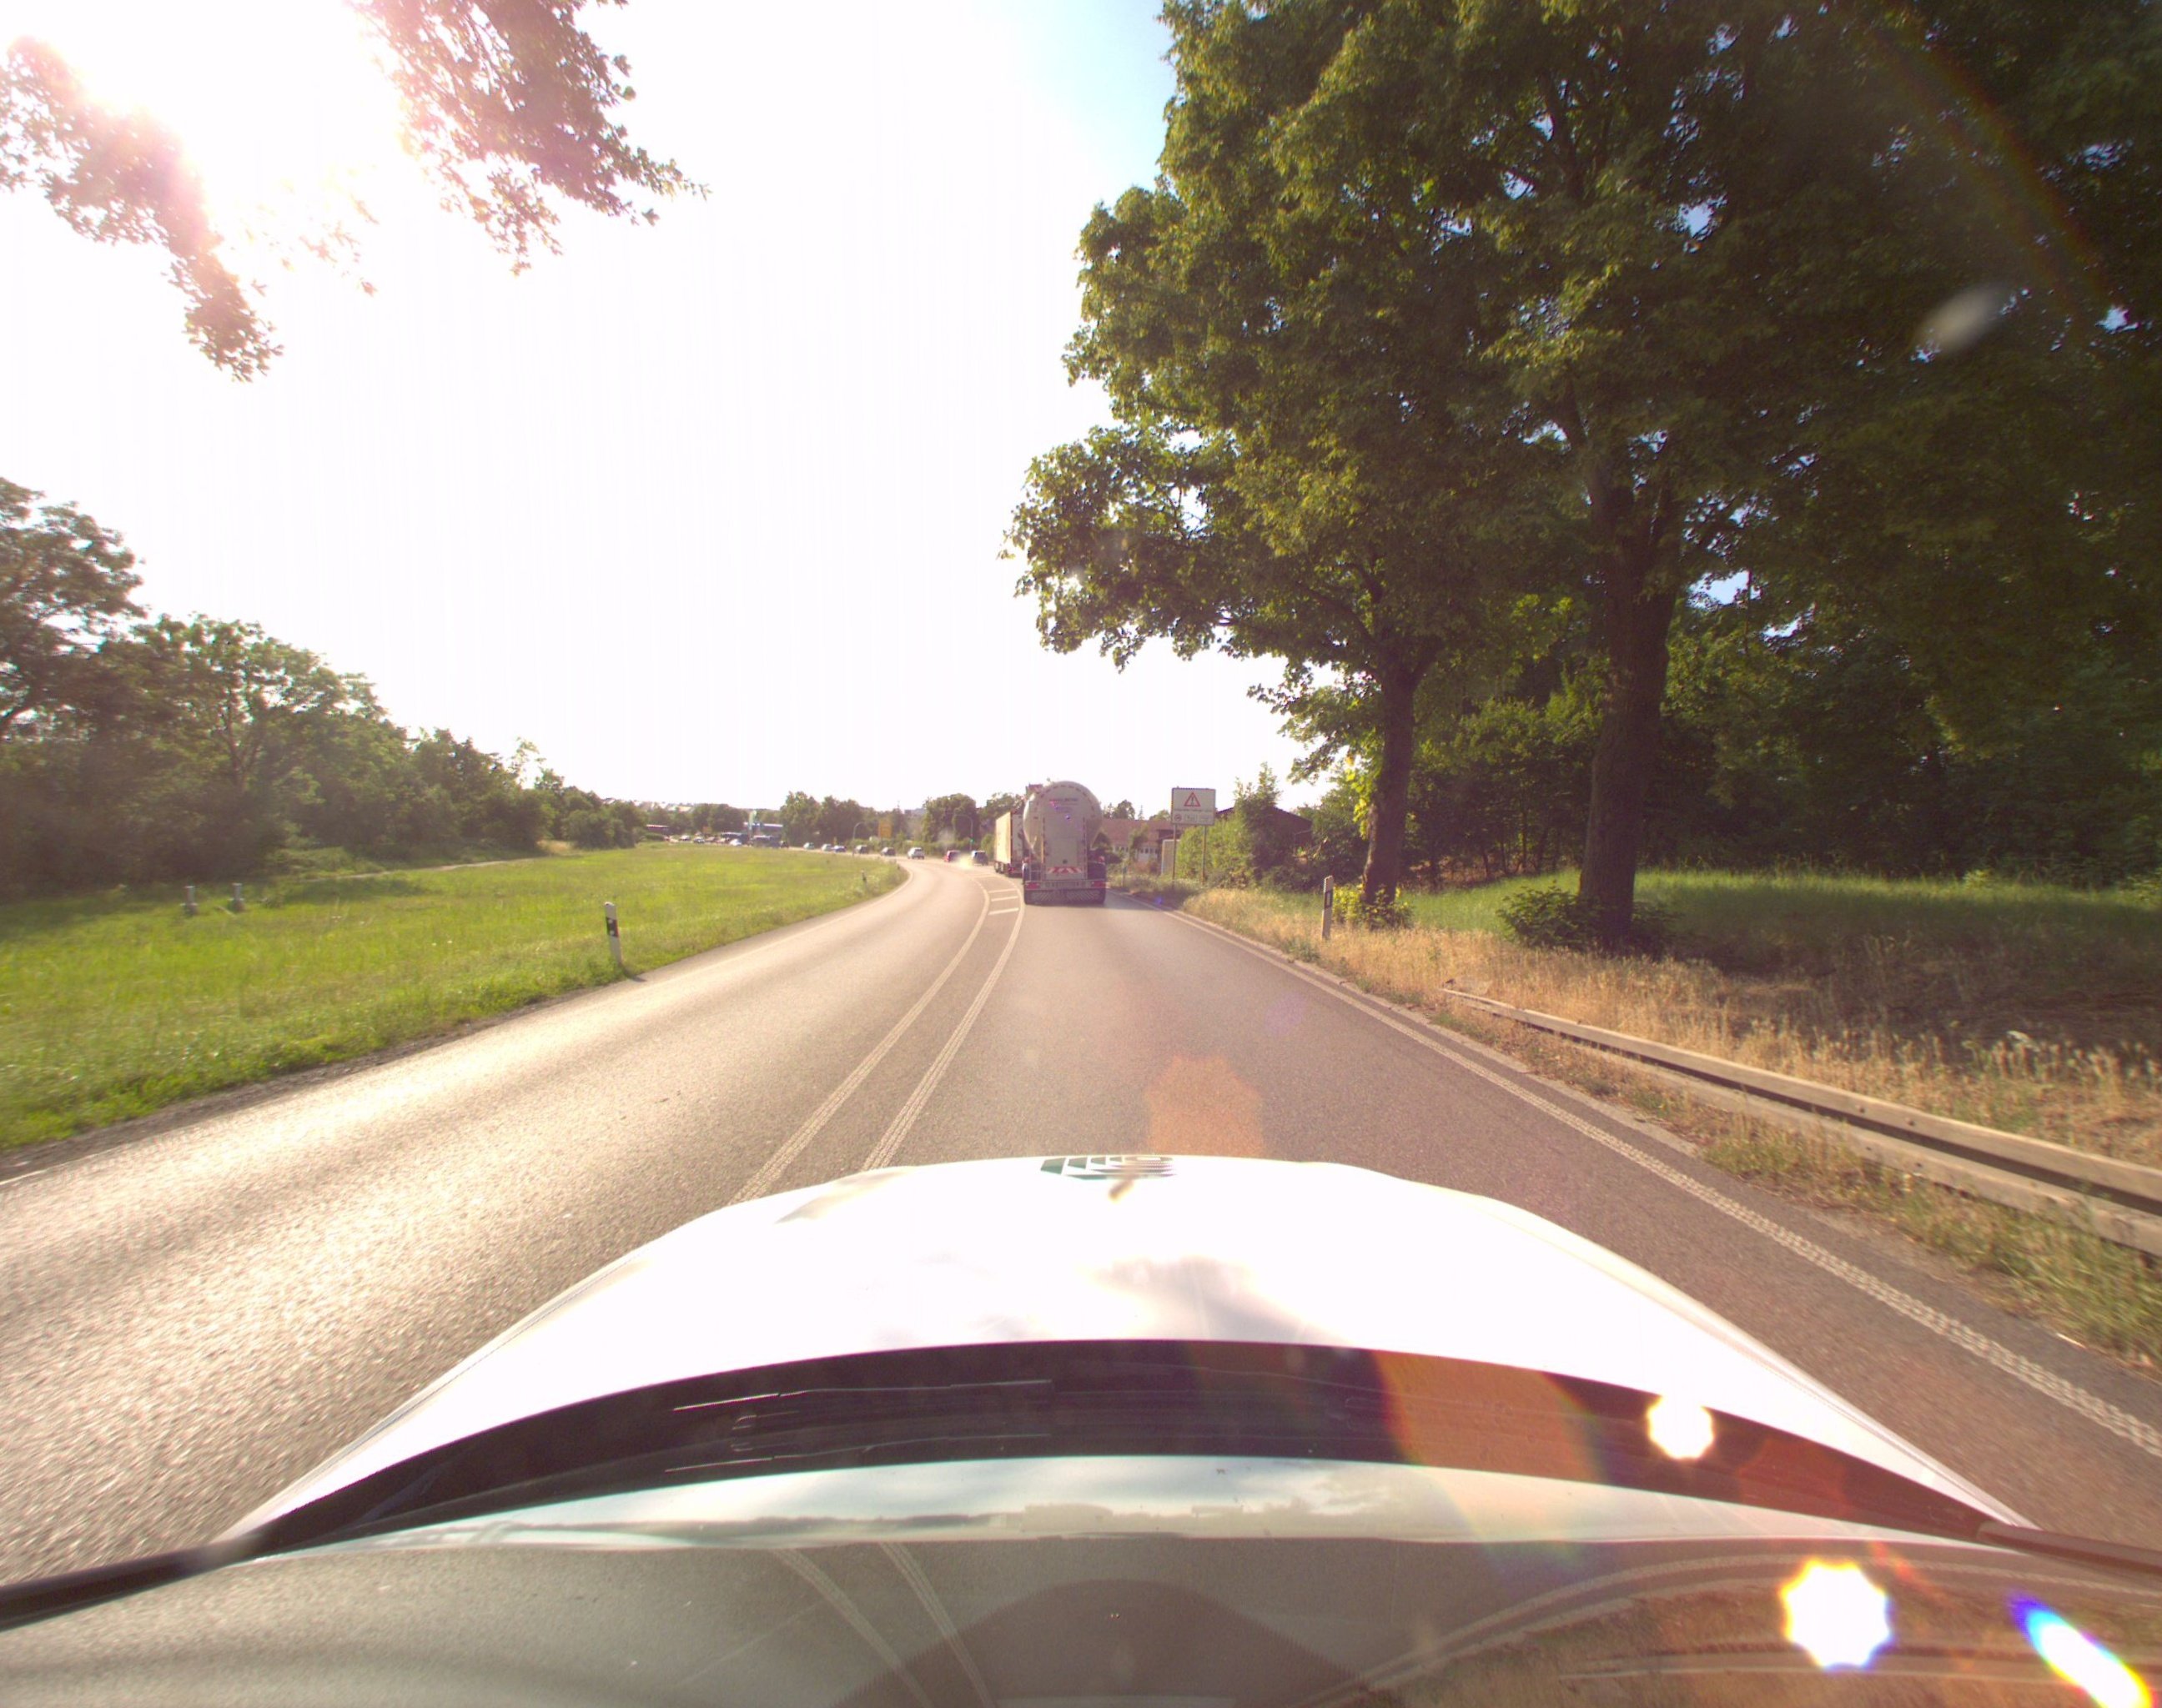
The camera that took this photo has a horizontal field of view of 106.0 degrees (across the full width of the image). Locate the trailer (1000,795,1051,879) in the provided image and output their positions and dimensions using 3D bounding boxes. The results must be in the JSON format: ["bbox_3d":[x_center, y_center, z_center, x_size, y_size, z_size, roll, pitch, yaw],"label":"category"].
[{"bbox_3d":[-3.528,-0.934,52.511,2.958,4.882,10.274,0,-1,-3],"label":"trailer"}]

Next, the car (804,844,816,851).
[{"bbox_3d":[-63.135,-1.553,189.888,1.988,1.656,3.835,0,-1,-31],"label":"car"}]

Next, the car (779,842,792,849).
[{"bbox_3d":[-71.214,-2.015,196.173,2.101,1.599,3.957,0,0,-35],"label":"car"}]

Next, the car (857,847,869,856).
[{"bbox_3d":[-41.563,-0.513,155.252,1.527,1.656,3.839,0,-1,-26],"label":"car"}]

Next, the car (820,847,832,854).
[{"bbox_3d":[-55.536,-0.743,177.131,1.689,1.559,3.835,0,-1,-30],"label":"car"}]

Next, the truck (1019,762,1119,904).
[{"bbox_3d":[-0.697,-0.558,29.898,2.970,4.175,11.646,0,-1,-4],"label":"truck"}]

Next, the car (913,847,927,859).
[{"bbox_3d":[-24.706,-0.135,124.706,1.845,1.656,3.978,0,-1,-16],"label":"car"}]

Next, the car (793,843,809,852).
[{"bbox_3d":[-52.617,-1.174,152.973,1.854,1.656,3.958,0,-1,-33],"label":"car"}]

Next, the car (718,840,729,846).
[{"bbox_3d":[-98.089,-3.058,223.499,1.897,1.599,3.955,0,0,-38],"label":"car"}]

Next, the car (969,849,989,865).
[{"bbox_3d":[-10.955,0.294,87.305,1.993,1.656,3.987,0,-1,-9],"label":"car"}]

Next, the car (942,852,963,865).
[{"bbox_3d":[-16.625,0.573,105.077,2.302,1.656,4.395,0,-1,-13],"label":"car"}]

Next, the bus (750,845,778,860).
[{"bbox_3d":[-71.775,-0.332,184.234,2.816,3.181,11.989,0,-1,-37],"label":"bus"}]

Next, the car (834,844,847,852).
[{"bbox_3d":[-49.356,-1.204,167.086,1.689,1.559,3.835,0,-1,-30],"label":"car"}]

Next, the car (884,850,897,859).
[{"bbox_3d":[-33.272,0.113,142.065,1.527,1.656,3.839,0,-1,-26],"label":"car"}]

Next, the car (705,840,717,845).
[{"bbox_3d":[-103.472,-3.192,227.565,1.898,1.599,3.952,0,1,-42],"label":"car"}]

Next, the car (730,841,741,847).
[{"bbox_3d":[-92.843,-2.702,218.896,2.101,1.599,3.957,0,0,-35],"label":"car"}]
